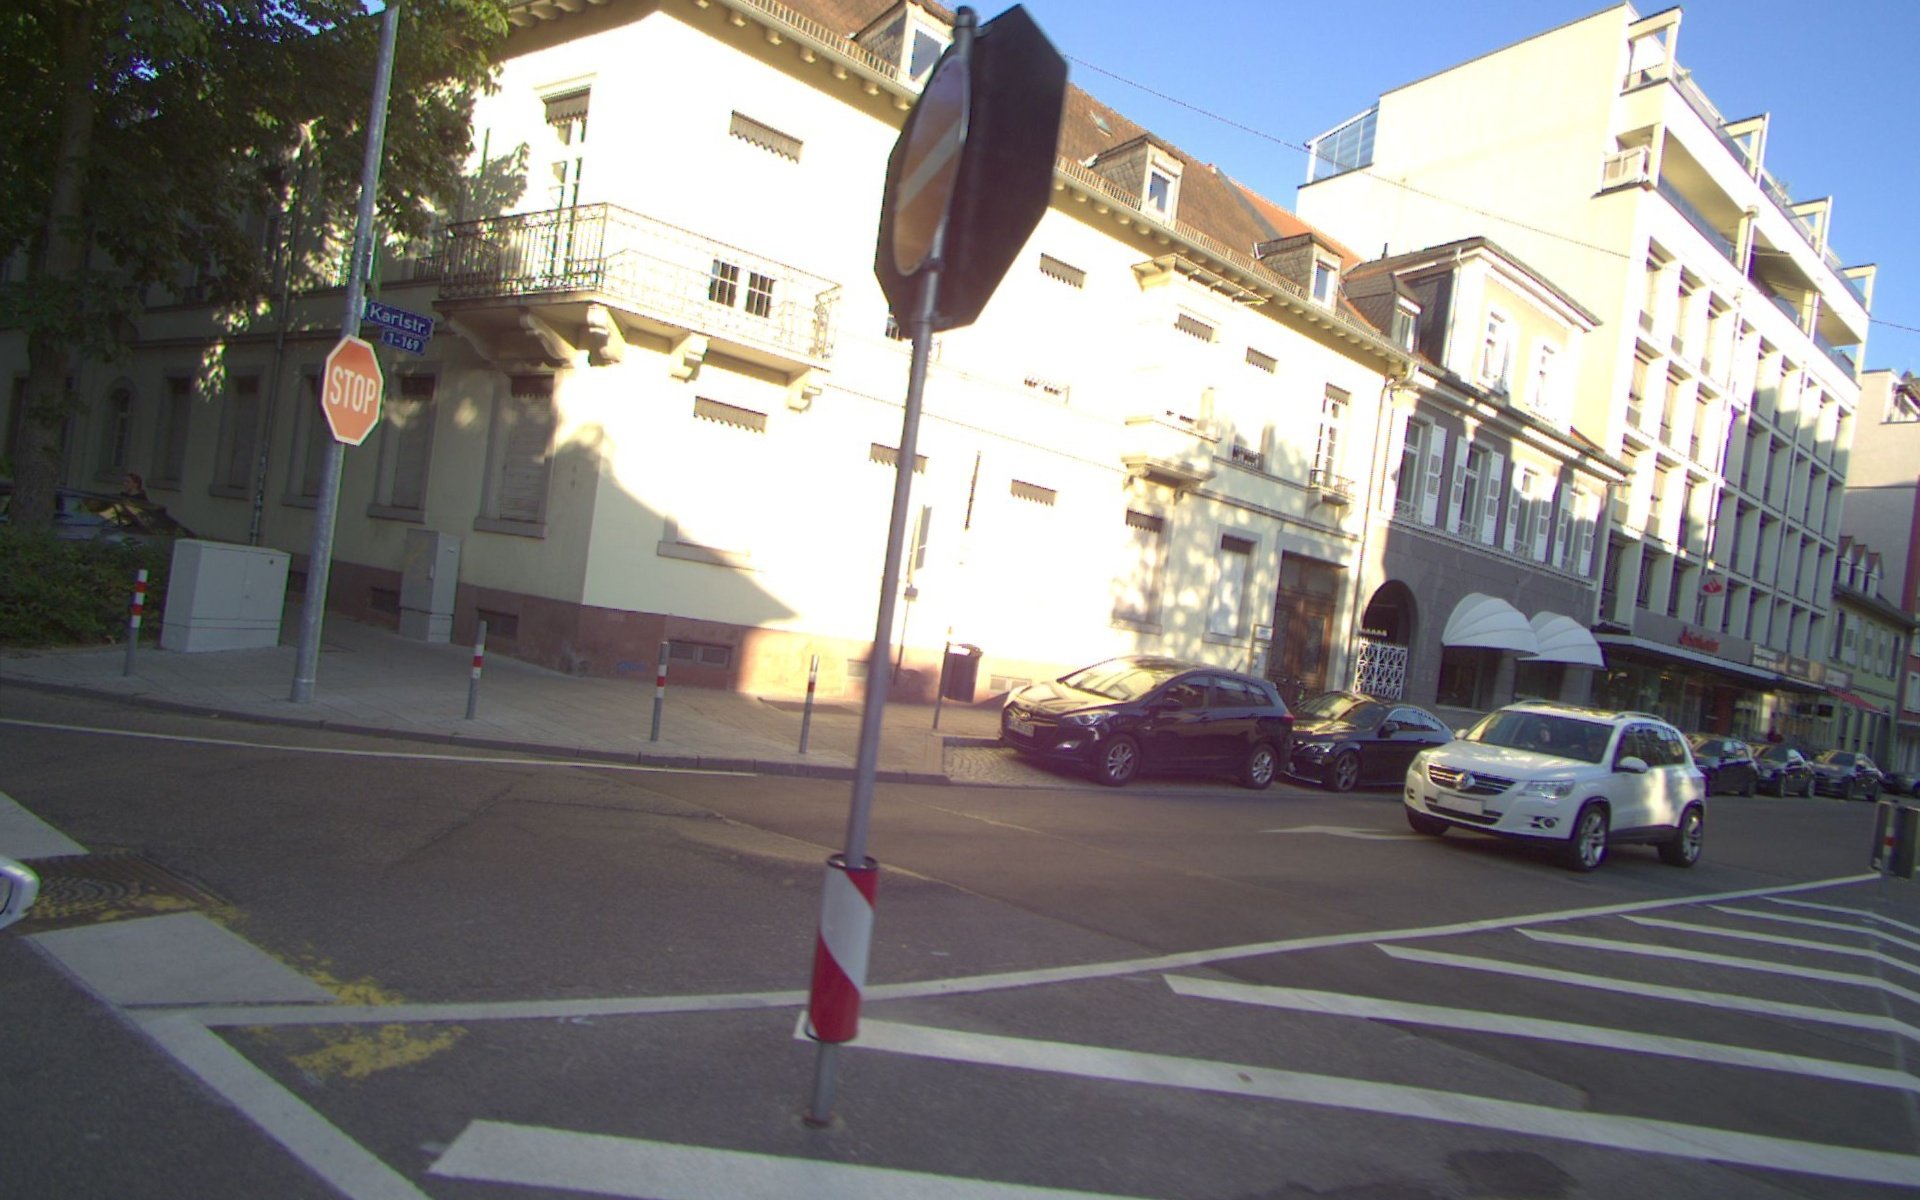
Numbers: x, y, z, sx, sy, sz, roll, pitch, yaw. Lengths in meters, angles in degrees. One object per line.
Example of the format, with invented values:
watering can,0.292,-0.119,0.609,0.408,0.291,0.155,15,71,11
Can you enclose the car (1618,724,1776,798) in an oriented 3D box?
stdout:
car,17.955,3.933,24.457,4.145,1.386,1.759,8,-1,-35

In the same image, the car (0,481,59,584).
car,-16.070,-1.221,14.487,1.821,1.498,4.196,8,1,32

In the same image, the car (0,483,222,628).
car,-11.789,-0.665,12.184,1.819,1.508,4.116,9,-1,31

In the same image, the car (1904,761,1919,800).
car,42.001,7.814,41.502,4.120,1.543,1.769,7,0,38

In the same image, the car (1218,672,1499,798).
car,6.304,2.143,15.723,4.477,1.386,1.757,9,2,-35

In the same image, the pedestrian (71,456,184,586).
pedestrian,-12.276,-1.157,14.846,0.769,1.727,0.944,9,1,33

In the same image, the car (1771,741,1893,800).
car,26.761,5.234,30.838,4.145,1.386,1.759,8,-1,-35

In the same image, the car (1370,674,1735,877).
car,6.747,1.950,11.319,4.168,1.675,1.877,9,-1,-35

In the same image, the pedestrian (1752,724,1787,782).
pedestrian,30.473,5.758,37.879,0.614,2.038,0.673,8,0,-35

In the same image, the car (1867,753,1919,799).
car,37.020,6.853,37.653,4.104,1.386,1.776,7,0,16

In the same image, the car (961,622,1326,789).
car,2.419,1.387,12.875,4.381,1.561,1.851,9,-1,-32

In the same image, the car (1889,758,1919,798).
car,39.837,7.373,39.736,4.108,1.386,1.774,7,0,25

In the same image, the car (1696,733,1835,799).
car,22.007,4.544,27.454,4.145,1.386,1.759,8,-1,-35

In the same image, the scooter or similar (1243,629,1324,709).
scooter or similar,5.633,1.201,17.515,1.172,1.217,0.384,8,0,-12
